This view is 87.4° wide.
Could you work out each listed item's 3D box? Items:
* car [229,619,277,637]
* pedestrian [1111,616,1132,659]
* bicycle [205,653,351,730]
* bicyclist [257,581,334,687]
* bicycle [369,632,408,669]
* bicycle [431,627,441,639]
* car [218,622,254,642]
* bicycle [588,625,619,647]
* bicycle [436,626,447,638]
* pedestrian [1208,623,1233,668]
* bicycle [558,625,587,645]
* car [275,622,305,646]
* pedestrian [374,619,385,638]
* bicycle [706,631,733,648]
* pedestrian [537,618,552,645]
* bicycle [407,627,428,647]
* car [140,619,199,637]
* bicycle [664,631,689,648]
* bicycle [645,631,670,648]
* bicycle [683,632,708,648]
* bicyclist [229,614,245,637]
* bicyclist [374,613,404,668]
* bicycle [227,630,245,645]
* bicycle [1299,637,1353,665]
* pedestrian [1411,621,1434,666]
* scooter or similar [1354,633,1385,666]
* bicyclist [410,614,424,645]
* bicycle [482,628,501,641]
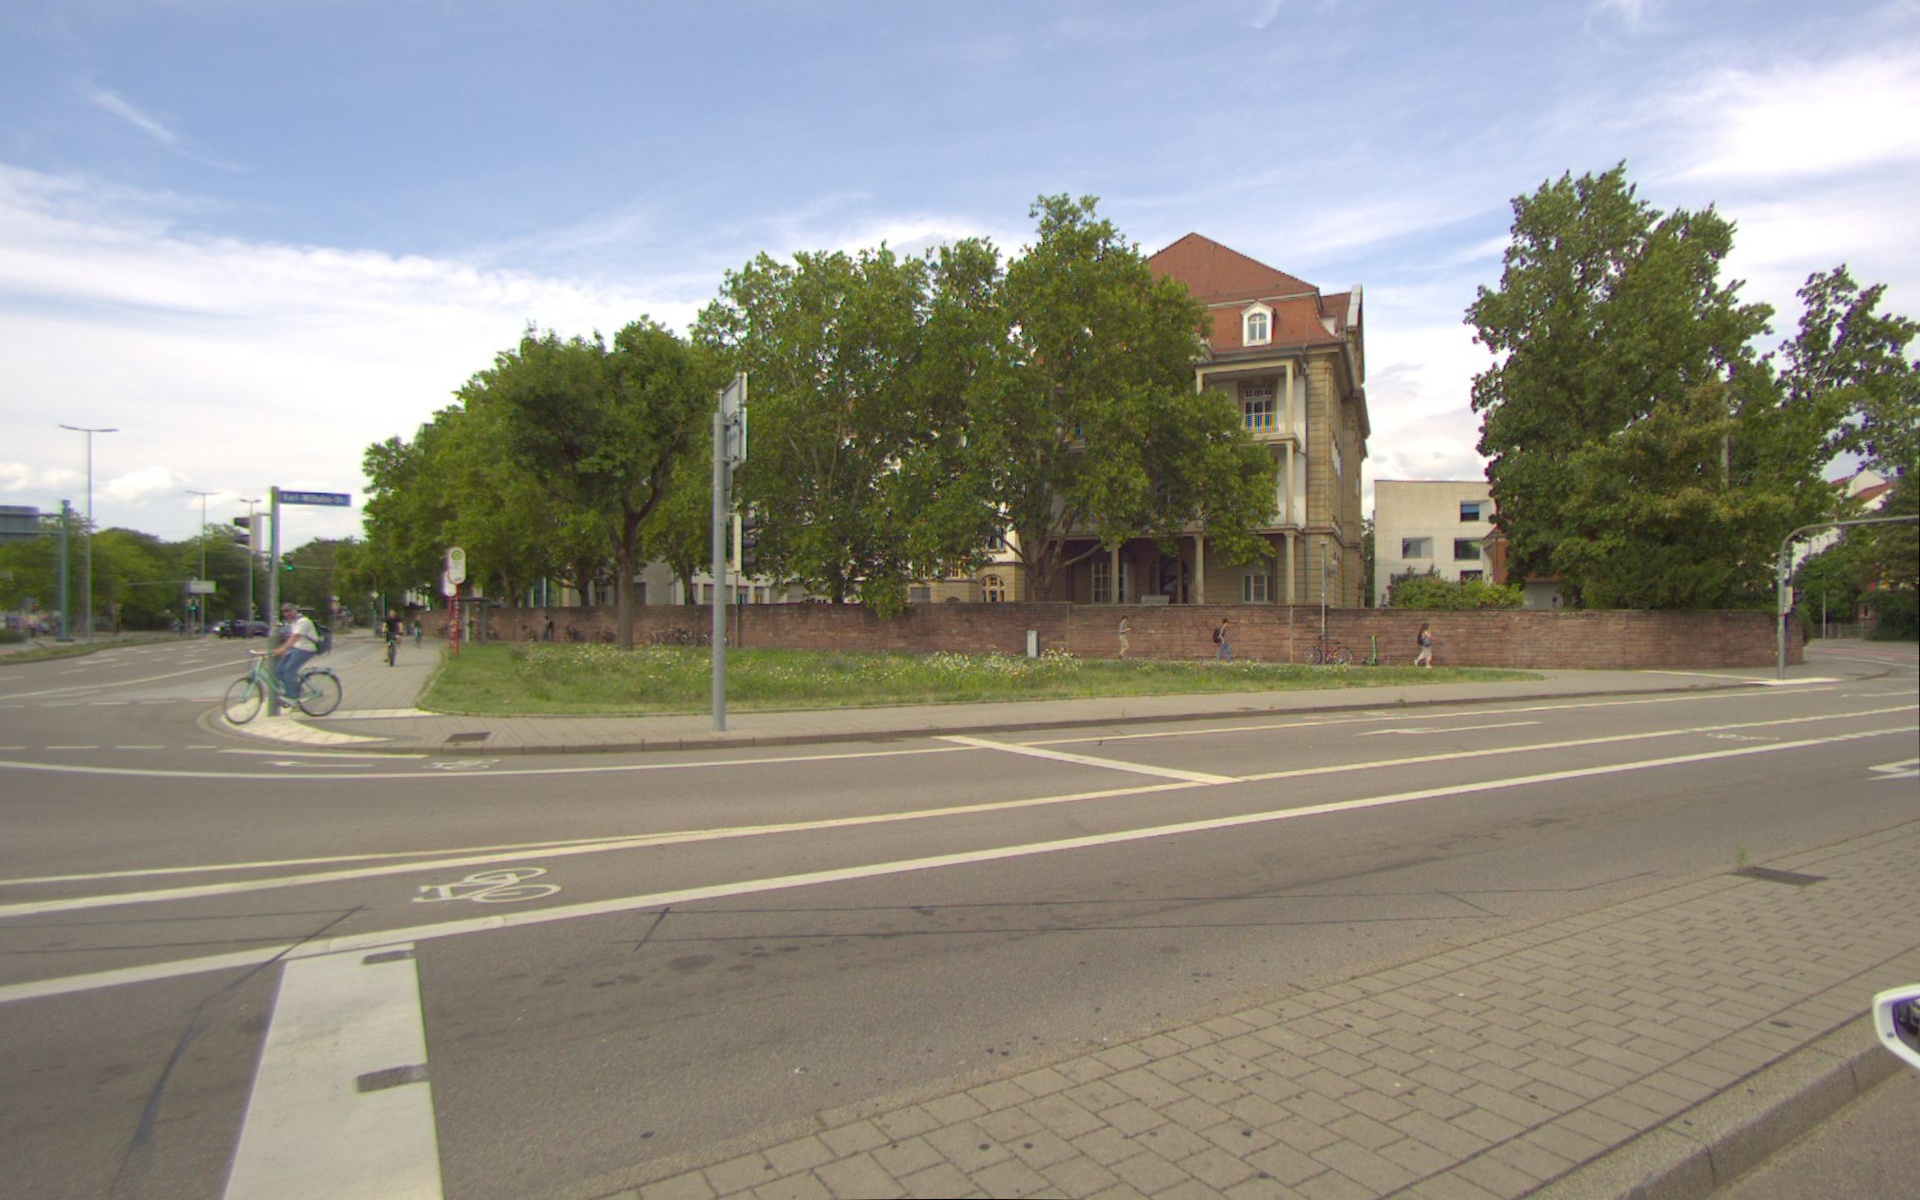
[{"bbox_3d":[-64.125,2.514,91.092,4.052,1.509,1.789,1,-1,25],"label":"car"},{"bbox_3d":[6.458,1.502,40.077,0.766,1.677,0.577,-1,1,7],"label":"pedestrian"},{"bbox_3d":[-10.254,1.347,15.205,0.496,0.948,1.972,1,1,15],"label":"bicycle"},{"bbox_3d":[-10.167,0.502,15.394,0.568,1.576,0.798,1,1,15],"label":"bicyclist"},{"bbox_3d":[-16.971,1.489,29.856,0.497,0.948,1.965,0,1,-14],"label":"bicycle"},{"bbox_3d":[-42.783,2.701,81.998,0.429,0.899,1.558,-4,1,-39],"label":"bicycle"},{"bbox_3d":[-59.222,2.645,82.243,1.768,1.509,4.100,2,-2,-28],"label":"car"},{"bbox_3d":[-20.849,2.099,58.669,2.067,1.204,0.755,-1,-3,40],"label":"bicycle"},{"bbox_3d":[-41.603,2.580,80.544,0.429,0.899,1.558,-4,1,-39],"label":"bicycle"},{"bbox_3d":[9.868,1.718,38.097,0.766,1.677,0.577,-2,1,2],"label":"pedestrian"},{"bbox_3d":[-23.634,2.146,61.217,2.067,1.204,0.755,-1,-3,40],"label":"bicycle"},{"bbox_3d":[-47.031,2.361,70.496,1.683,1.500,4.374,-2,0,-34],"label":"car"},{"bbox_3d":[-52.096,2.557,90.157,0.747,1.643,0.659,-2,1,-34],"label":"pedestrian"},{"bbox_3d":[-12.588,2.081,52.651,1.681,0.875,0.357,-1,-3,36],"label":"bicycle"},{"bbox_3d":[-26.151,1.965,63.246,0.743,1.643,0.566,-1,1,40],"label":"pedestrian"},{"bbox_3d":[-28.587,1.954,52.910,0.497,0.948,1.965,0,1,-14],"label":"bicycle"},{"bbox_3d":[-73.688,2.612,93.644,4.048,1.509,1.791,2,-1,2],"label":"car"},{"bbox_3d":[-15.405,2.151,54.541,1.783,0.875,0.357,-1,-3,42],"label":"bicycle"},{"bbox_3d":[-16.798,2.184,55.708,1.794,0.875,0.357,-1,-3,39],"label":"bicycle"},{"bbox_3d":[-14.038,2.119,53.288,1.864,0.875,0.357,-2,-4,43],"label":"bicycle"},{"bbox_3d":[-56.949,2.033,79.071,0.768,1.733,1.079,2,-3,-25],"label":"bicyclist"},{"bbox_3d":[-16.997,1.191,29.912,0.570,1.576,0.795,0,1,-14],"label":"bicyclist"},{"bbox_3d":[-56.976,2.958,79.036,0.749,1.204,2.085,2,-3,-26],"label":"bicycle"},{"bbox_3d":[14.025,1.963,38.570,1.888,1.018,0.779,-1,1,17],"label":"bicycle"},{"bbox_3d":[17.406,1.637,37.813,0.617,1.677,0.532,-1,1,6],"label":"pedestrian"},{"bbox_3d":[15.630,1.892,38.326,0.513,1.154,1.509,-1,1,45],"label":"scooter or similar"},{"bbox_3d":[-28.577,1.537,52.871,0.486,1.576,0.795,0,1,-14],"label":"bicyclist"},{"bbox_3d":[-32.613,2.409,69.905,1.554,0.899,0.658,-2,1,42],"label":"bicycle"}]
